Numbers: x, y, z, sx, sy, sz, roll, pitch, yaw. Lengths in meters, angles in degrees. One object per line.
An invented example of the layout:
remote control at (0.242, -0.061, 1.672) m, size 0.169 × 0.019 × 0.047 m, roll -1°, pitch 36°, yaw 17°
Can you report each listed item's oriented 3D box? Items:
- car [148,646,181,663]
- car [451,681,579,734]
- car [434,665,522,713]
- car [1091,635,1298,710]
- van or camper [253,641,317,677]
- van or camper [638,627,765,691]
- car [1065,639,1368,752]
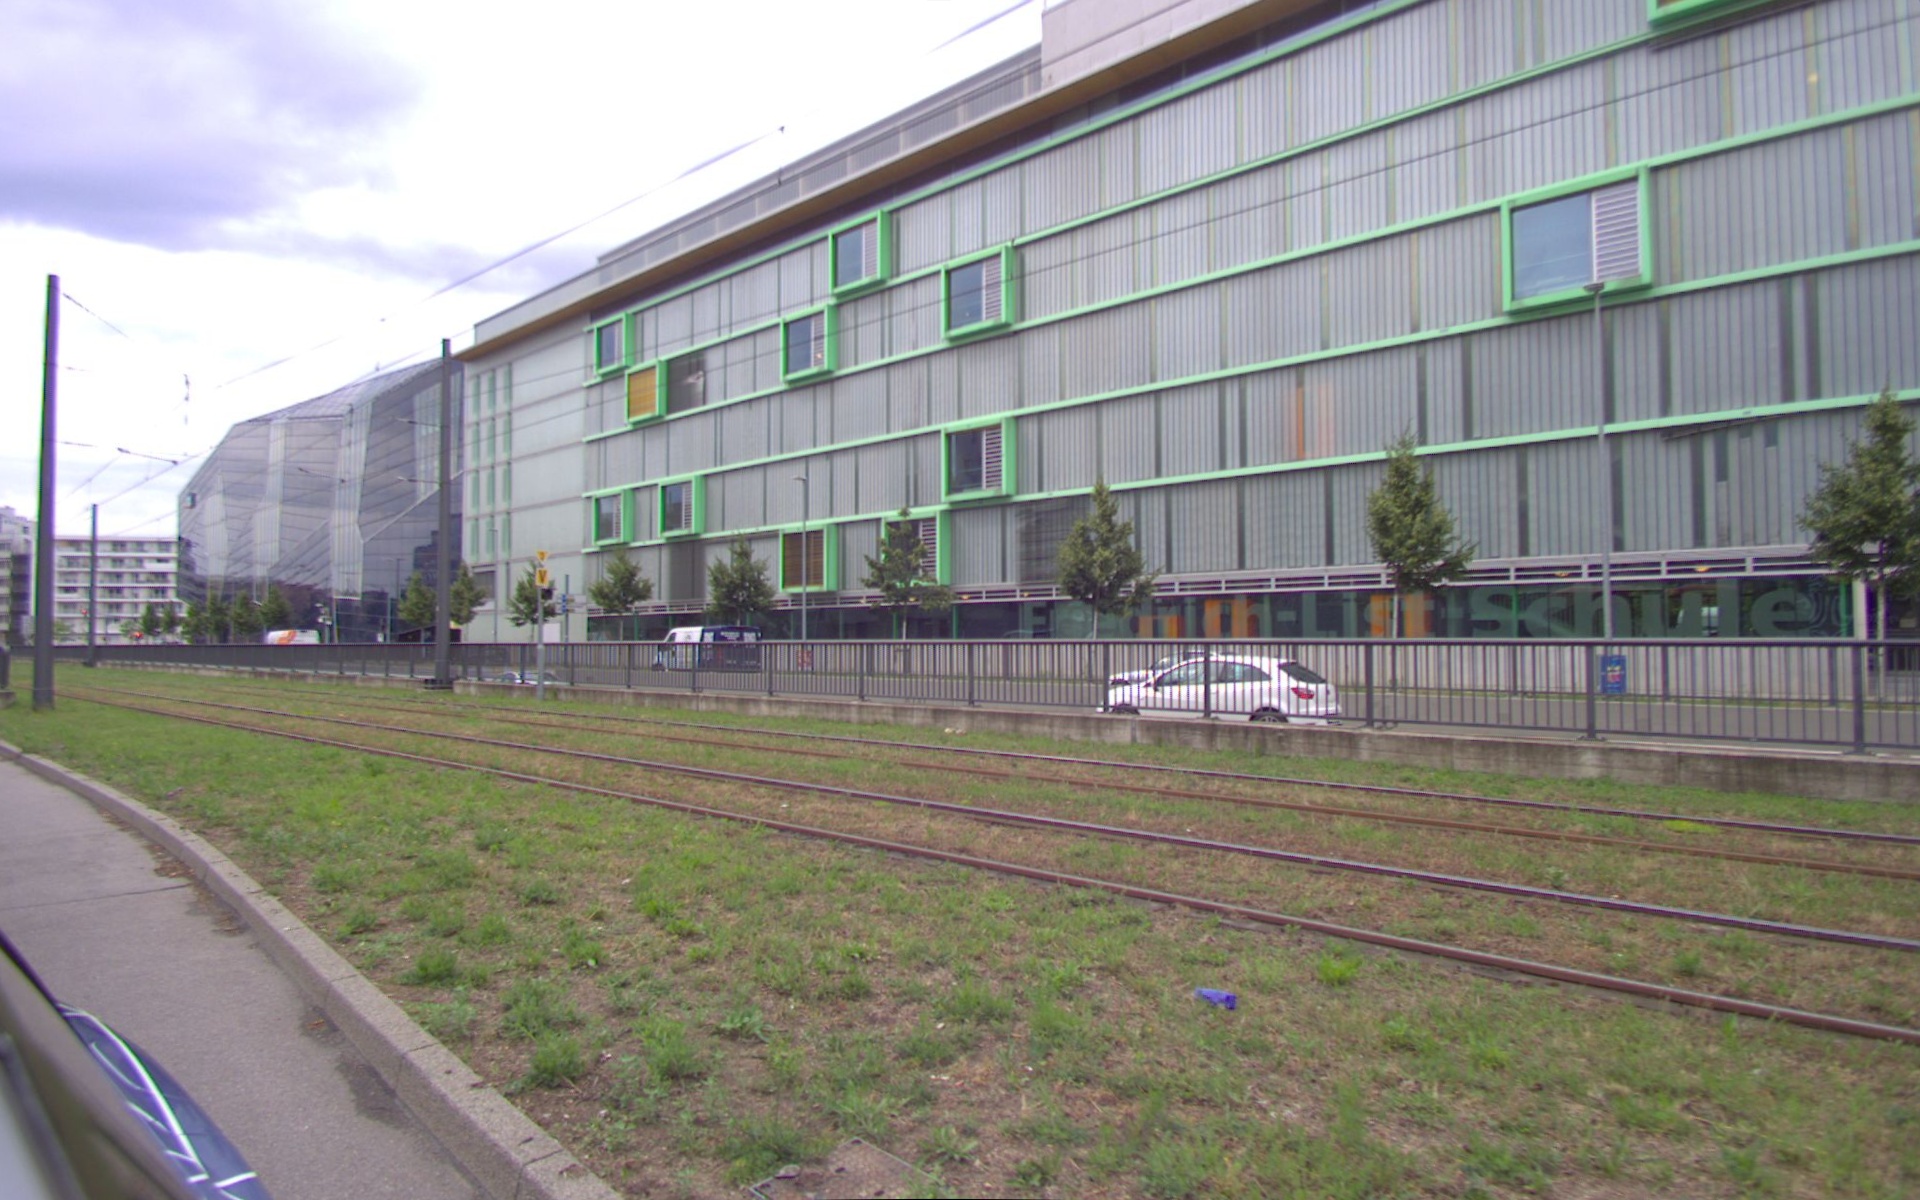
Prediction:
car at (-82.273, 5.654, 104.630) m, size 4.766 × 1.605 × 1.972 m, roll -6°, pitch -5°, yaw 43°
car at (-14.473, 3.441, 32.765) m, size 4.966 × 1.526 × 1.764 m, roll -4°, pitch -4°, yaw 40°
car at (-24.078, 4.459, 50.453) m, size 4.965 × 2.029 × 1.974 m, roll -8°, pitch -6°, yaw 38°
car at (5.733, 1.744, 25.124) m, size 4.645 × 1.679 × 1.972 m, roll -3°, pitch -3°, yaw 42°
van or camper at (-47.153, 4.129, 70.644) m, size 6.503 × 2.304 × 2.150 m, roll -4°, pitch -3°, yaw 42°
van or camper at (-10.091, 2.292, 39.281) m, size 5.355 × 2.304 × 2.150 m, roll -3°, pitch -4°, yaw 41°
car at (4.100, 1.479, 16.548) m, size 4.372 × 1.598 × 1.975 m, roll -3°, pitch -4°, yaw 38°
